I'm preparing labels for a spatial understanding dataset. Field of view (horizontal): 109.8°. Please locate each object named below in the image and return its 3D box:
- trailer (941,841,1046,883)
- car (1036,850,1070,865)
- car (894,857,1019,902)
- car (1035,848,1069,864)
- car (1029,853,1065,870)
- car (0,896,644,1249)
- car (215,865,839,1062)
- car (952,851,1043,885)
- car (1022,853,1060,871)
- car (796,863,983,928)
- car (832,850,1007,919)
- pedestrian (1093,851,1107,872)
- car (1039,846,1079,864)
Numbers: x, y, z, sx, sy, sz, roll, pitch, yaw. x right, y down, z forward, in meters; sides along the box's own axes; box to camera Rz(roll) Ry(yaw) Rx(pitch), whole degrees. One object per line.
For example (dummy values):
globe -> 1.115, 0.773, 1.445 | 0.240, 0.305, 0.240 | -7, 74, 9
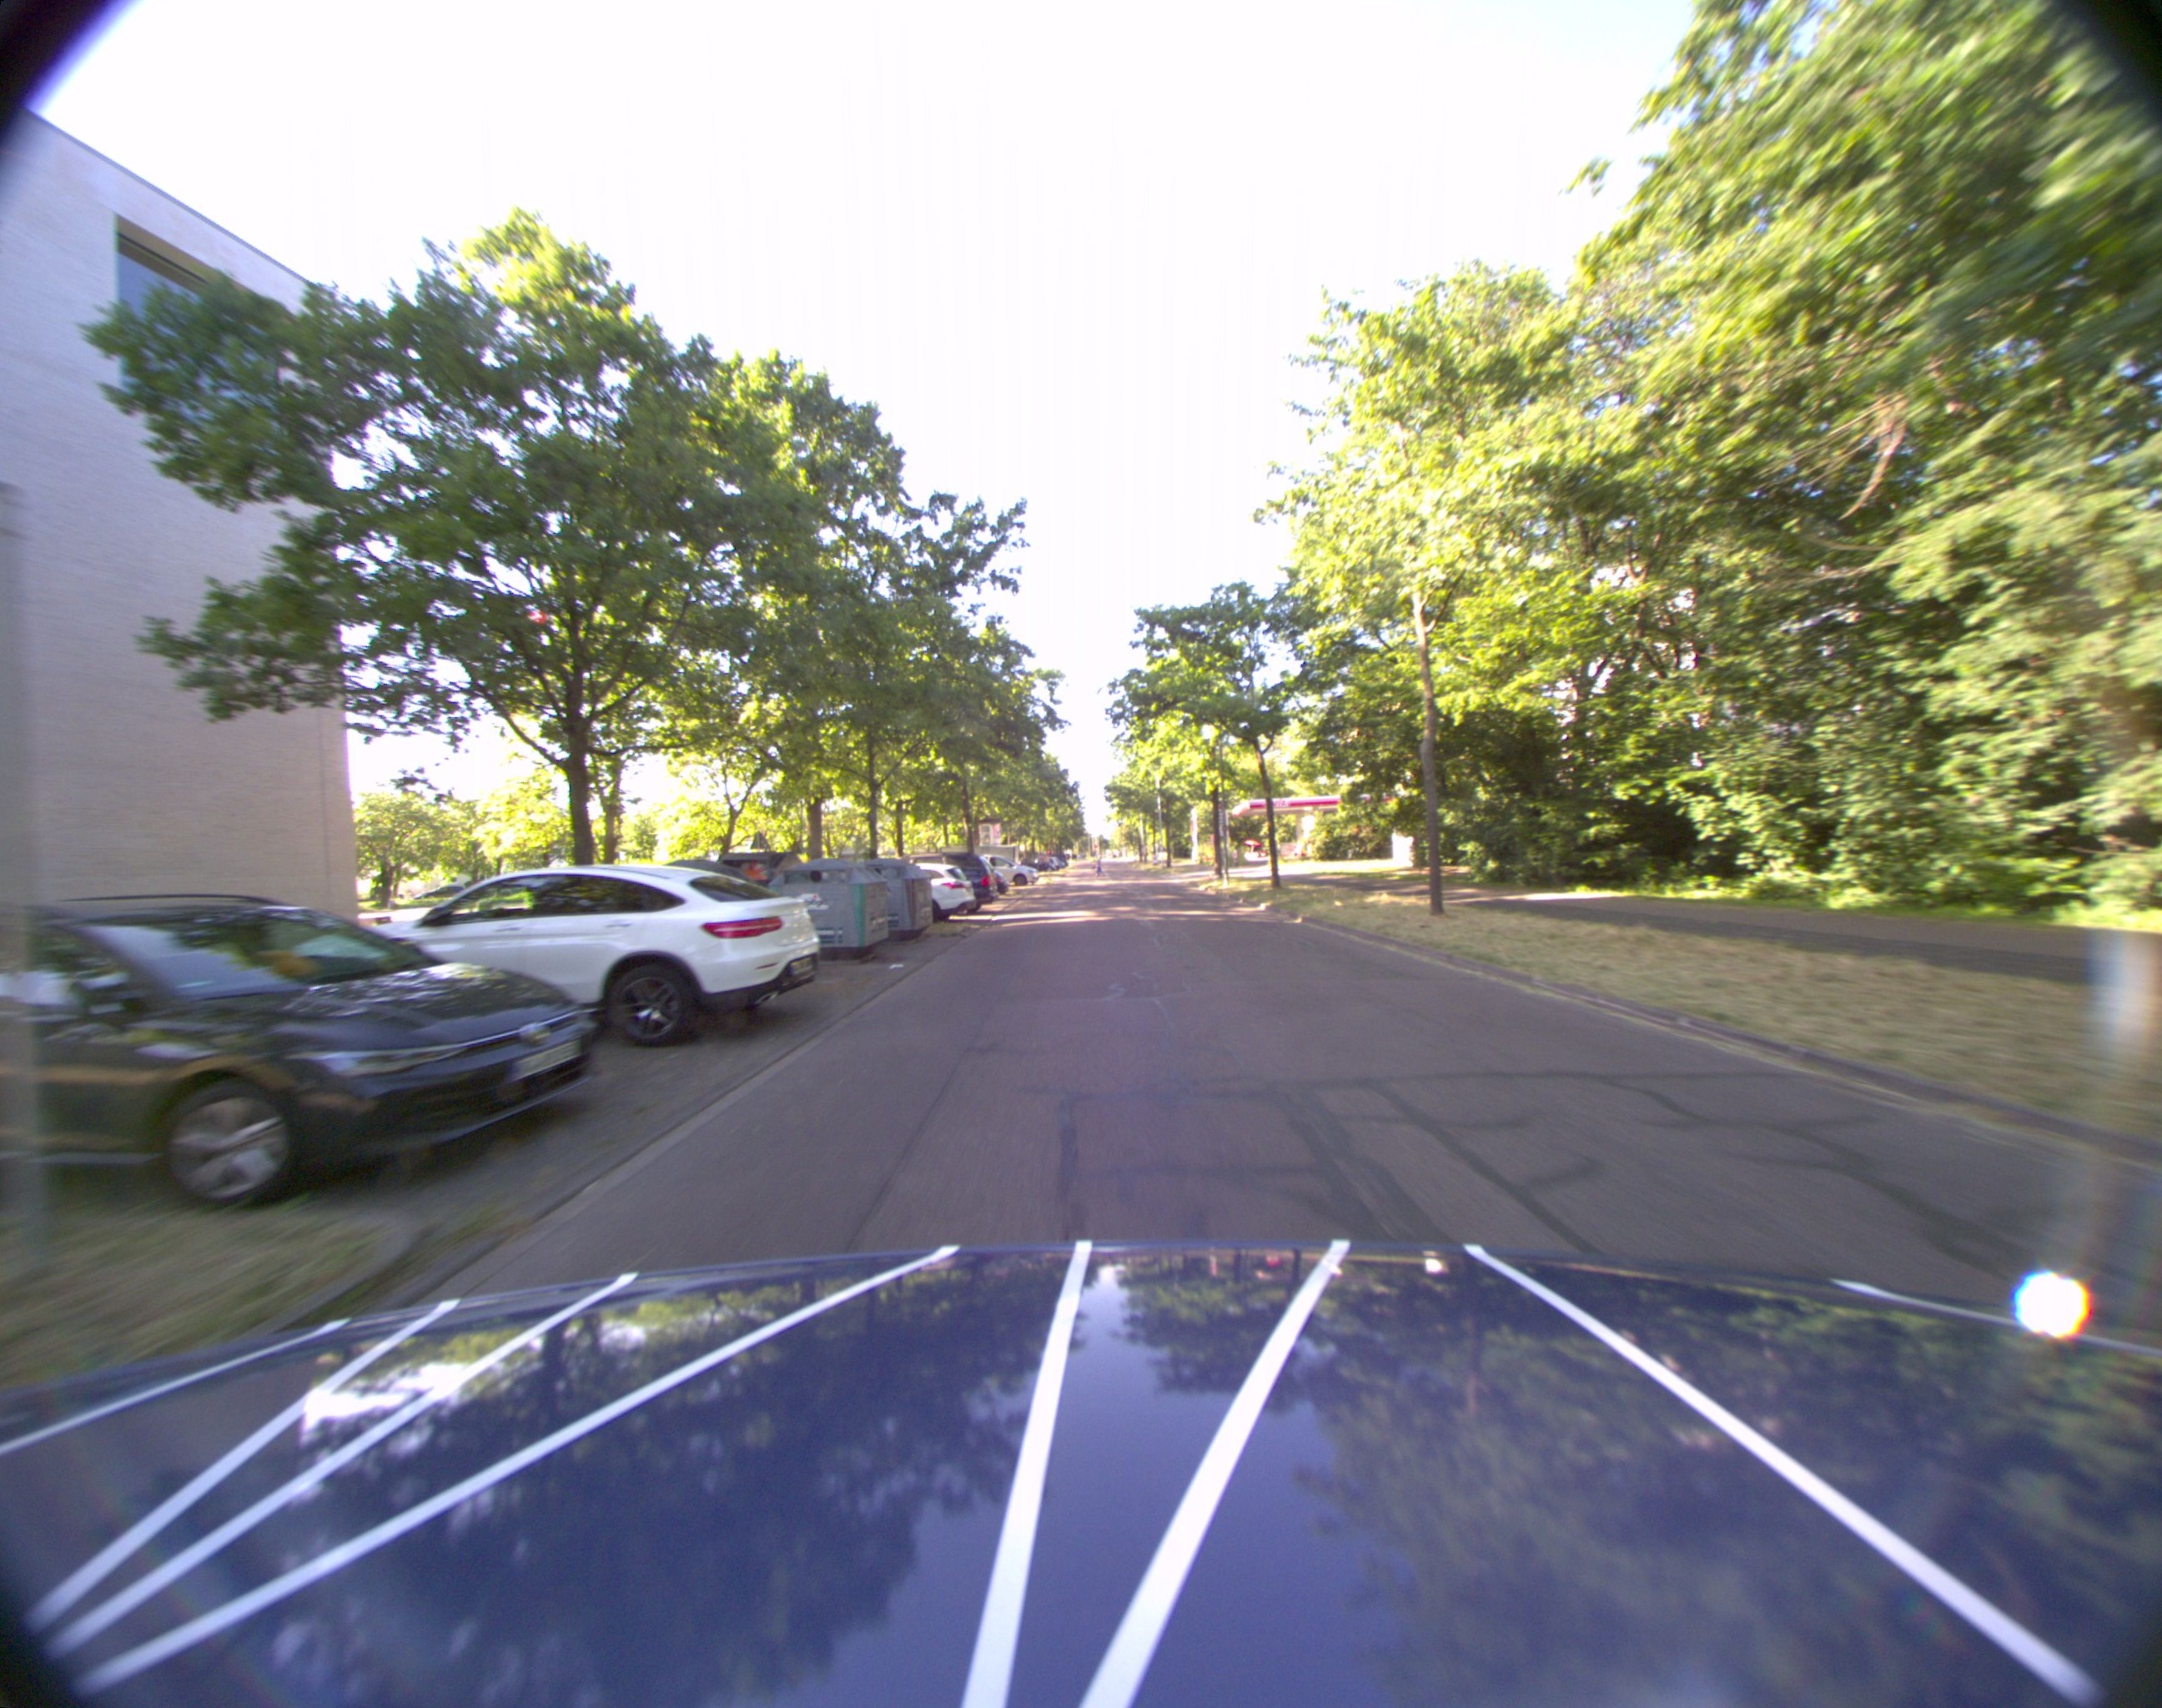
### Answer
trailer -> -5.035, 0.457, 44.096 | 5.788, 2.304, 1.686 | -1, 1, 3
car -> -3.072, 0.413, 83.426 | 3.529, 1.523, 1.665 | -1, 1, 2
car -> -4.600, 0.925, 28.509 | 4.255, 1.510, 2.078 | -1, 1, 2
car -> -3.411, 0.203, 90.595 | 4.019, 1.826, 1.799 | -1, 1, -2
car -> -3.527, 0.772, 78.766 | 3.592, 1.567, 1.786 | -1, 1, 2
car -> -5.426, 1.061, 4.371 | 4.682, 1.447, 1.916 | -1, 0, 0
car -> -5.037, 0.954, 7.425 | 4.682, 1.571, 1.917 | -1, 0, 1
car -> -4.459, 0.746, 41.309 | 4.653, 1.712, 1.987 | -1, 1, 2
car -> -3.837, 0.774, 73.836 | 3.592, 1.567, 1.857 | -1, 1, 0
car -> -4.746, 1.012, 19.242 | 4.231, 1.463, 1.800 | -1, 0, 2
car -> -4.525, 0.834, 21.777 | 4.541, 1.791, 1.936 | -1, 1, 1
pedestrian -> 1.399, 0.520, 55.447 | 0.942, 1.491, 0.885 | -1, 0, 2
car -> -2.719, 0.125, 93.320 | 4.815, 2.020, 1.944 | -2, 1, 0
